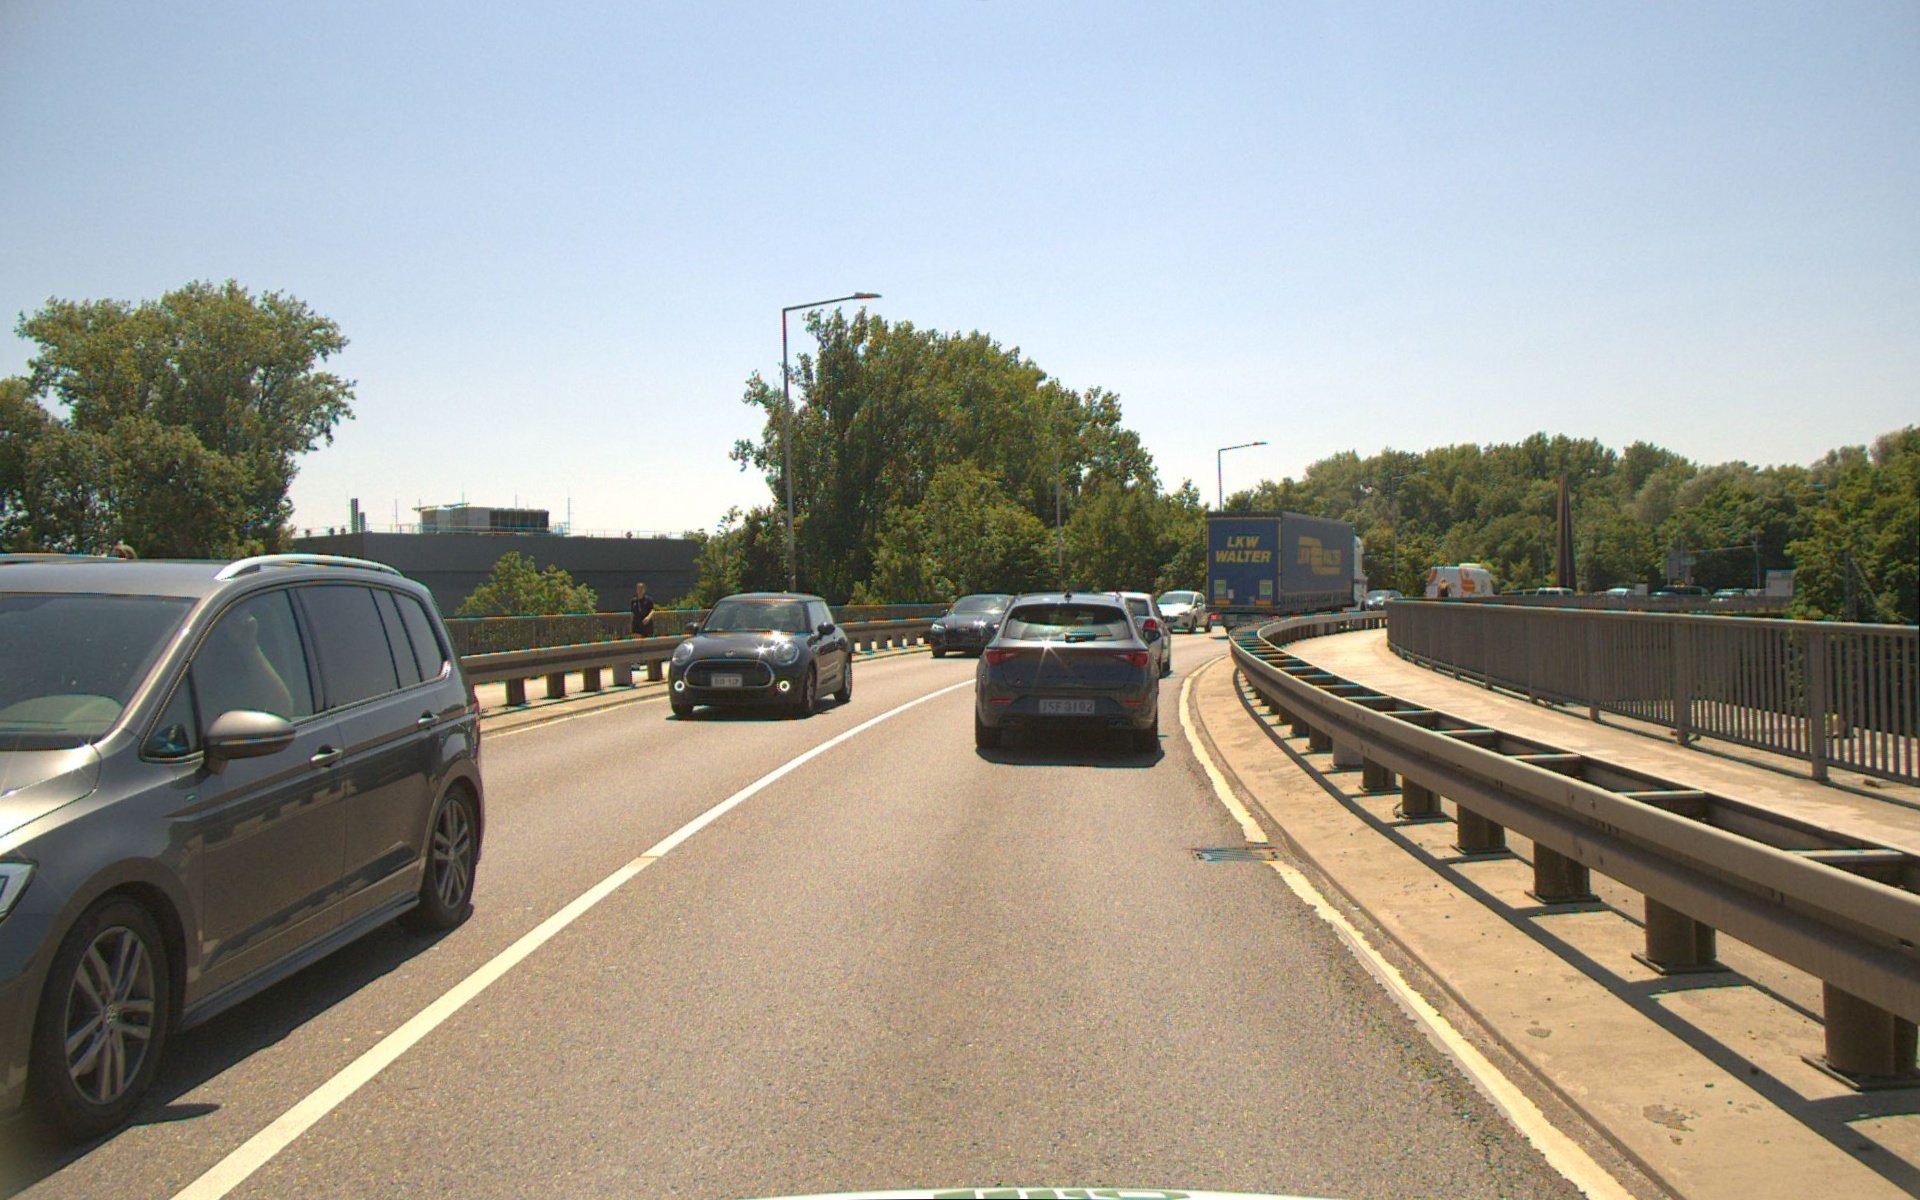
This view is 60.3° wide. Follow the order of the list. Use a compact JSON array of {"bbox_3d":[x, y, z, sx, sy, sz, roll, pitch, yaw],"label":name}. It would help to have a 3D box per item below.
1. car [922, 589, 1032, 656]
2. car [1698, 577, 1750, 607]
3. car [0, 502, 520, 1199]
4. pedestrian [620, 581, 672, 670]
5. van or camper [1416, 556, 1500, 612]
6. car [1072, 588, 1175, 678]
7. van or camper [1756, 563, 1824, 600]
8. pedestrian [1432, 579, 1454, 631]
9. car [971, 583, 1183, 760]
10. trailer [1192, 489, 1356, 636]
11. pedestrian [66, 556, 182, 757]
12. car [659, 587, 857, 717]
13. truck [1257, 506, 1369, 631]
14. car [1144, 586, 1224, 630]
[{"bbox_3d":[0.461,0.513,38.553,1.751,1.440,4.579,-1,0,11],"label":"car"},{"bbox_3d":[53.336,-0.558,115.410,3.966,1.881,1.866,1,3,-42],"label":"car"},{"bbox_3d":[-3.110,0.641,5.780,1.856,1.683,4.259,-1,-1,2],"label":"car"},{"bbox_3d":[-5.750,0.461,30.271,0.699,1.589,0.695,-2,-1,10],"label":"pedestrian"},{"bbox_3d":[25.338,-0.821,84.043,2.167,2.758,5.900,0,1,37],"label":"van or camper"},{"bbox_3d":[3.001,0.553,29.824,1.559,1.486,3.548,1,0,10],"label":"car"},{"bbox_3d":[64.033,-1.438,127.541,4.902,2.331,2.464,5,2,-35],"label":"van or camper"},{"bbox_3d":[18.720,0.178,64.095,0.722,2.002,0.734,0,0,25],"label":"pedestrian"},{"bbox_3d":[1.029,0.600,16.226,1.808,1.525,3.758,0,1,0],"label":"car"},{"bbox_3d":[11.523,-1.212,59.377,3.071,4.694,12.944,1,0,23],"label":"trailer"},{"bbox_3d":[-7.749,0.513,15.361,0.625,1.814,0.812,1,0,2],"label":"pedestrian"},{"bbox_3d":[-2.422,0.601,20.734,1.751,1.444,3.775,-2,0,4],"label":"car"},{"bbox_3d":[14.102,-1.169,65.573,3.105,4.665,7.395,1,0,22],"label":"truck"},{"bbox_3d":[8.119,0.285,59.788,1.691,1.509,3.862,-1,0,27],"label":"car"}]
